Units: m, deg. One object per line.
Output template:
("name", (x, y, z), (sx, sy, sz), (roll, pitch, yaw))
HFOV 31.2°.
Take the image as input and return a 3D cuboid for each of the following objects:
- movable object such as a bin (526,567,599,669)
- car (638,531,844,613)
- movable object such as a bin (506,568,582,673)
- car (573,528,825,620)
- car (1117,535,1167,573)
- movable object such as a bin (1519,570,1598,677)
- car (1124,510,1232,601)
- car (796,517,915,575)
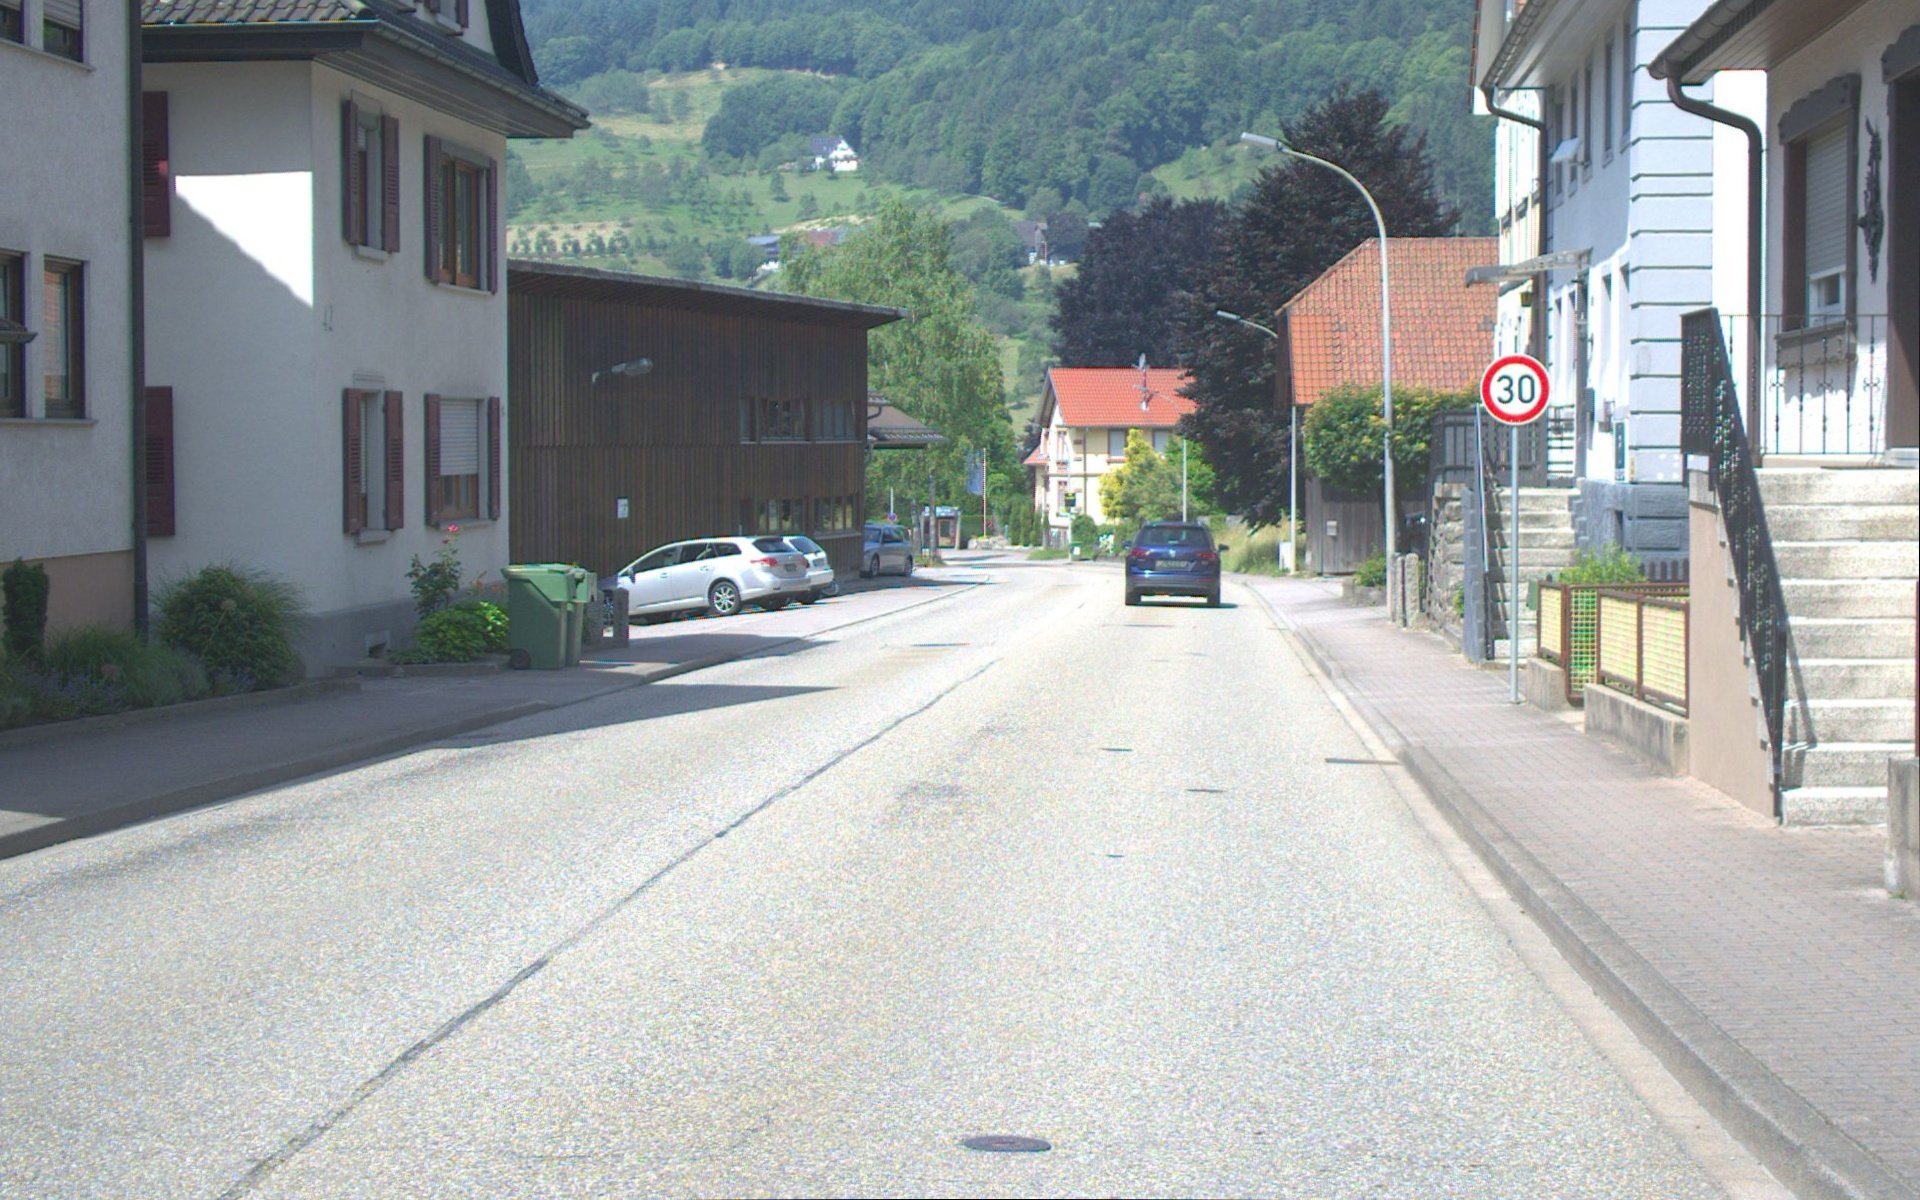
("movable object such as a bin", (-4.210, 0.189, 36.445), (0.676, 1.063, 0.621), (0, 1, 2))
("car", (-4.388, -0.565, 69.014), (3.662, 1.381, 1.709), (-4, 0, 19))
("movable object such as a bin", (-4.317, 0.209, 35.707), (0.676, 1.063, 0.653), (0, 1, 2))
("car", (-5.024, -0.503, 66.062), (4.436, 1.469, 1.921), (-3, 1, 30))
("car", (5.993, -1.538, 113.356), (1.477, 1.205, 2.384), (-1, 1, -1))
("movable object such as a bin", (5.799, 0.226, 33.324), (0.704, 1.017, 0.618), (0, 1, 5))
("car", (4.247, -0.866, 66.522), (1.920, 1.692, 3.787), (-1, 1, 6))
("car", (-2.788, -1.472, 93.032), (1.730, 1.449, 4.801), (1, 2, 18))
